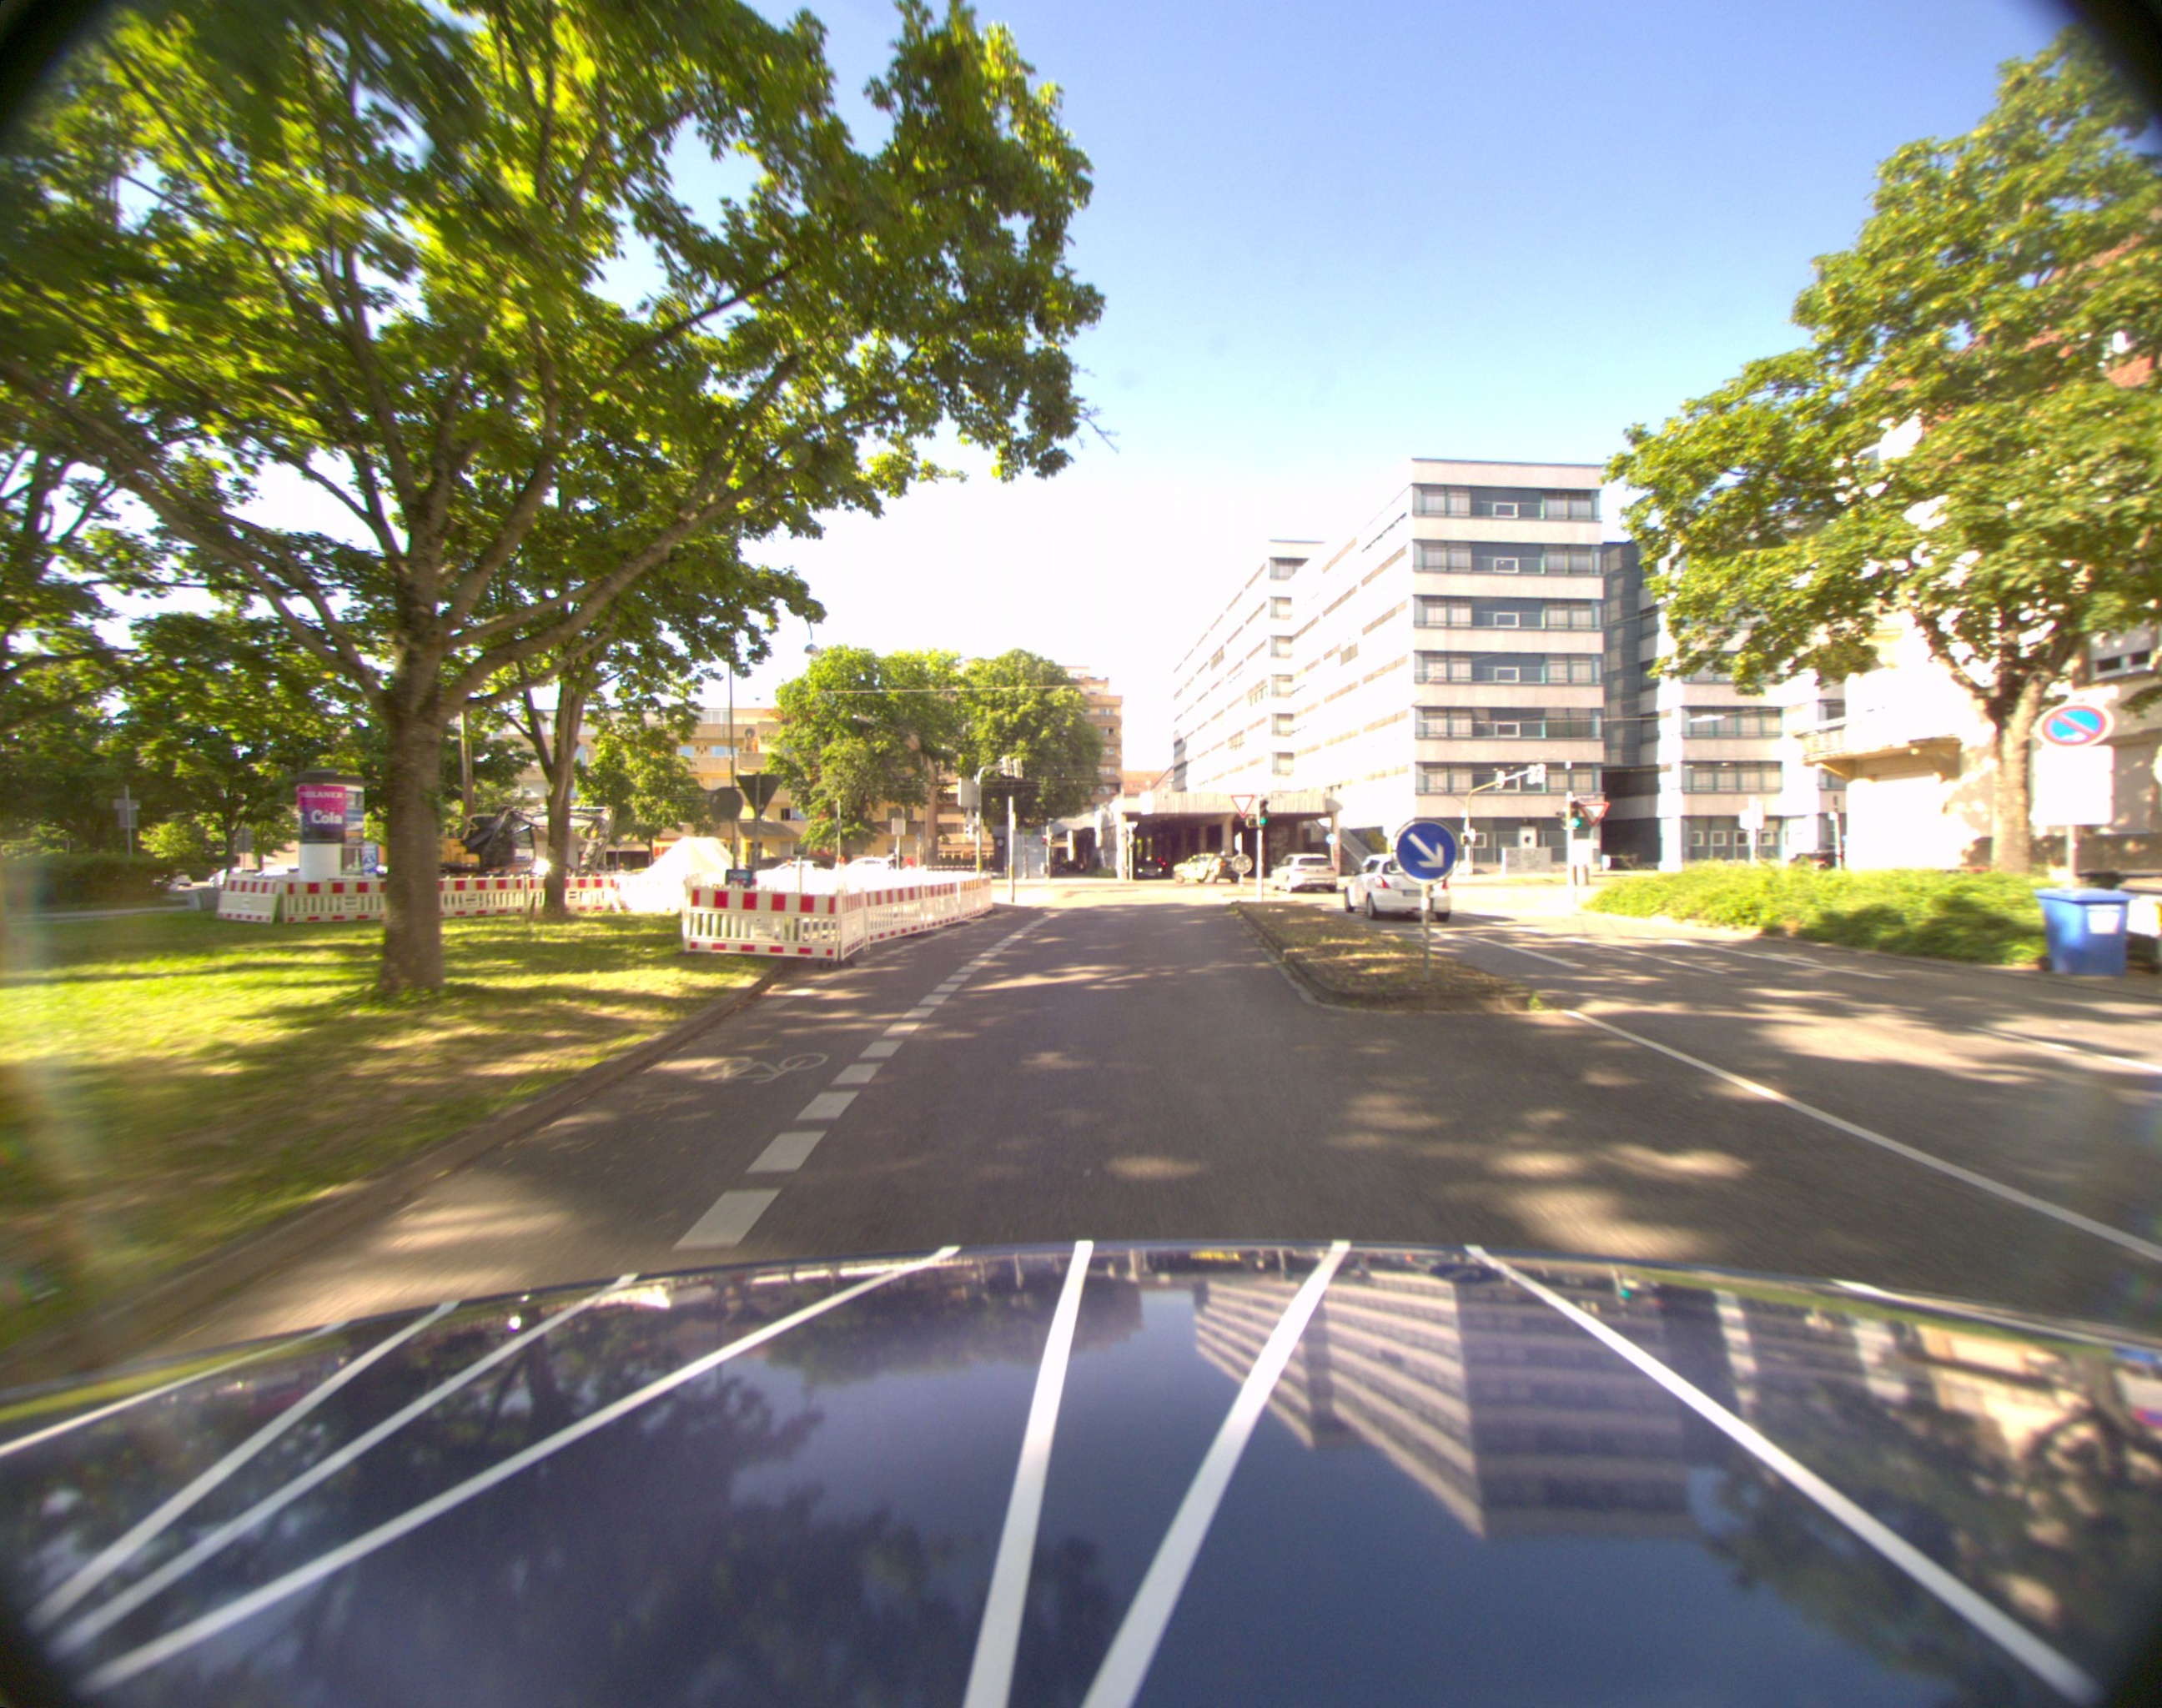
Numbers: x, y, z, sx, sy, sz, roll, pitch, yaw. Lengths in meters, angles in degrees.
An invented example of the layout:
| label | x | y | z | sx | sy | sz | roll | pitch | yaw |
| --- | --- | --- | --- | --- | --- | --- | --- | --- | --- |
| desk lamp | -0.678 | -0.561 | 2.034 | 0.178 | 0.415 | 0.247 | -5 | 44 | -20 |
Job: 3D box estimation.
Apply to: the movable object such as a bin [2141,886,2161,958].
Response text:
| label | x | y | z | sx | sy | sz | roll | pitch | yaw |
| --- | --- | --- | --- | --- | --- | --- | --- | --- | --- |
| movable object such as a bin | 13.990 | 0.871 | 9.537 | 0.514 | 0.907 | 0.639 | -1 | 1 | 17 |

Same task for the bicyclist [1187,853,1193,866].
| label | x | y | z | sx | sy | sz | roll | pitch | yaw |
| --- | --- | --- | --- | --- | --- | --- | --- | --- | --- |
| bicyclist | 13.565 | 0.696 | 94.516 | 0.607 | 1.623 | 0.909 | 0 | 0 | -4 |

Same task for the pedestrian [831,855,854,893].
| label | x | y | z | sx | sy | sz | roll | pitch | yaw |
| --- | --- | --- | --- | --- | --- | --- | --- | --- | --- |
| pedestrian | -9.975 | 0.822 | 31.737 | 0.638 | 1.591 | 0.636 | 0 | 1 | 23 |

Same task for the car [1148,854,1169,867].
| label | x | y | z | sx | sy | sz | roll | pitch | yaw |
| --- | --- | --- | --- | --- | --- | --- | --- | --- | --- |
| car | 9.920 | 0.777 | 97.493 | 1.890 | 1.600 | 4.146 | -1 | 0 | -6 |

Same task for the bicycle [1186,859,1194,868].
| label | x | y | z | sx | sy | sz | roll | pitch | yaw |
| --- | --- | --- | --- | --- | --- | --- | --- | --- | --- |
| bicycle | 13.561 | 1.142 | 94.485 | 0.527 | 1.084 | 1.859 | -1 | 0 | -4 |

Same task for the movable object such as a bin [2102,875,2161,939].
| label | x | y | z | sx | sy | sz | roll | pitch | yaw |
| --- | --- | --- | --- | --- | --- | --- | --- | --- | --- |
| movable object such as a bin | 17.379 | 0.848 | 12.301 | 0.784 | 0.994 | 0.639 | -1 | 1 | 17 |

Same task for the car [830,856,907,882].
| label | x | y | z | sx | sy | sz | roll | pitch | yaw |
| --- | --- | --- | --- | --- | --- | --- | --- | --- | --- |
| car | -13.545 | 0.921 | 48.563 | 4.314 | 1.610 | 1.938 | 0 | 0 | 14 |

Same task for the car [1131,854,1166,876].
| label | x | y | z | sx | sy | sz | roll | pitch | yaw |
| --- | --- | --- | --- | --- | --- | --- | --- | --- | --- |
| car | 5.177 | 0.827 | 58.945 | 1.958 | 1.546 | 5.039 | -2 | 0 | -4 |

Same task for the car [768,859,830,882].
| label | x | y | z | sx | sy | sz | roll | pitch | yaw |
| --- | --- | --- | --- | --- | --- | --- | --- | --- | --- |
| car | -18.706 | 1.103 | 50.507 | 3.502 | 1.522 | 1.658 | 0 | -1 | 11 |

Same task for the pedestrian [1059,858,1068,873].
| label | x | y | z | sx | sy | sz | roll | pitch | yaw |
| --- | --- | --- | --- | --- | --- | --- | --- | --- | --- |
| pedestrian | -1.486 | 0.974 | 64.129 | 0.724 | 1.291 | 0.589 | -1 | 0 | -11 |

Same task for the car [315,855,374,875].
| label | x | y | z | sx | sy | sz | roll | pitch | yaw |
| --- | --- | --- | --- | --- | --- | --- | --- | --- | --- |
| car | -61.034 | 0.905 | 62.956 | 3.869 | 1.665 | 1.812 | 0 | 0 | 16 |

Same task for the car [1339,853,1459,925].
| label | x | y | z | sx | sy | sz | roll | pitch | yaw |
| --- | --- | --- | --- | --- | --- | --- | --- | --- | --- |
| car | 7.467 | 0.742 | 18.242 | 1.708 | 1.504 | 3.865 | 1 | 0 | 8 |

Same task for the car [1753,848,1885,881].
| label | x | y | z | sx | sy | sz | roll | pitch | yaw |
| --- | --- | --- | --- | --- | --- | --- | --- | --- | --- |
| car | 32.620 | 0.445 | 33.641 | 4.325 | 1.443 | 1.806 | 0 | 1 | -5 |

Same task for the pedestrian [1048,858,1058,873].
| label | x | y | z | sx | sy | sz | roll | pitch | yaw |
| --- | --- | --- | --- | --- | --- | --- | --- | --- | --- |
| pedestrian | -2.391 | 0.966 | 63.916 | 0.740 | 1.291 | 0.613 | -1 | 0 | -11 |

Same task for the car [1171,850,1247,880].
| label | x | y | z | sx | sy | sz | roll | pitch | yaw |
| --- | --- | --- | --- | --- | --- | --- | --- | --- | --- |
| car | 6.707 | 0.556 | 40.168 | 1.796 | 1.505 | 4.106 | -1 | 0 | -29 |

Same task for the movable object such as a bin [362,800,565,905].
| label | x | y | z | sx | sy | sz | roll | pitch | yaw |
| --- | --- | --- | --- | --- | --- | --- | --- | --- | --- |
| movable object such as a bin | -21.201 | -0.041 | 26.303 | 4.704 | 3.344 | 2.836 | -1 | 1 | 5 |

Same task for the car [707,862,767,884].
| label | x | y | z | sx | sy | sz | roll | pitch | yaw |
| --- | --- | --- | --- | --- | --- | --- | --- | --- | --- |
| car | -23.261 | 1.279 | 51.422 | 3.287 | 1.397 | 1.668 | 0 | -1 | 12 |

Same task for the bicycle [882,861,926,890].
| label | x | y | z | sx | sy | sz | roll | pitch | yaw |
| --- | --- | --- | --- | --- | --- | --- | --- | --- | --- |
| bicycle | -7.739 | 0.939 | 33.227 | 1.780 | 1.258 | 0.655 | 0 | 0 | 15 |

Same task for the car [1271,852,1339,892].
| label | x | y | z | sx | sy | sz | roll | pitch | yaw |
| --- | --- | --- | --- | --- | --- | --- | --- | --- | --- |
| car | 8.618 | 0.654 | 29.573 | 1.711 | 1.444 | 3.852 | 0 | 0 | 3 |

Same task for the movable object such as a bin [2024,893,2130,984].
| label | x | y | z | sx | sy | sz | roll | pitch | yaw |
| --- | --- | --- | --- | --- | --- | --- | --- | --- | --- |
| movable object such as a bin | 12.337 | 1.031 | 9.432 | 0.514 | 1.041 | 0.639 | -1 | 1 | 17 |

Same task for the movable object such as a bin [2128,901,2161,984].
| label | x | y | z | sx | sy | sz | roll | pitch | yaw |
| --- | --- | --- | --- | --- | --- | --- | --- | --- | --- |
| movable object such as a bin | 13.143 | 1.064 | 9.041 | 0.514 | 0.970 | 0.639 | -1 | 1 | 17 |

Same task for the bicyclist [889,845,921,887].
| label | x | y | z | sx | sy | sz | roll | pitch | yaw |
| --- | --- | --- | --- | --- | --- | --- | --- | --- | --- |
| bicyclist | -7.683 | 0.524 | 33.193 | 1.094 | 1.820 | 0.915 | 0 | 0 | 15 |

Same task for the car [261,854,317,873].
| label | x | y | z | sx | sy | sz | roll | pitch | yaw |
| --- | --- | --- | --- | --- | --- | --- | --- | --- | --- |
| car | -67.154 | 0.810 | 64.445 | 3.686 | 1.545 | 1.766 | 0 | 0 | 16 |

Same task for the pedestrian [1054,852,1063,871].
| label | x | y | z | sx | sy | sz | roll | pitch | yaw |
| --- | --- | --- | --- | --- | --- | --- | --- | --- | --- |
| pedestrian | -2.035 | 0.652 | 68.896 | 0.658 | 1.681 | 0.589 | -1 | 1 | -11 |

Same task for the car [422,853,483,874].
| label | x | y | z | sx | sy | sz | roll | pitch | yaw |
| --- | --- | --- | --- | --- | --- | --- | --- | --- | --- |
| car | -47.586 | 0.728 | 57.527 | 3.530 | 1.538 | 1.813 | 0 | -1 | 14 |
